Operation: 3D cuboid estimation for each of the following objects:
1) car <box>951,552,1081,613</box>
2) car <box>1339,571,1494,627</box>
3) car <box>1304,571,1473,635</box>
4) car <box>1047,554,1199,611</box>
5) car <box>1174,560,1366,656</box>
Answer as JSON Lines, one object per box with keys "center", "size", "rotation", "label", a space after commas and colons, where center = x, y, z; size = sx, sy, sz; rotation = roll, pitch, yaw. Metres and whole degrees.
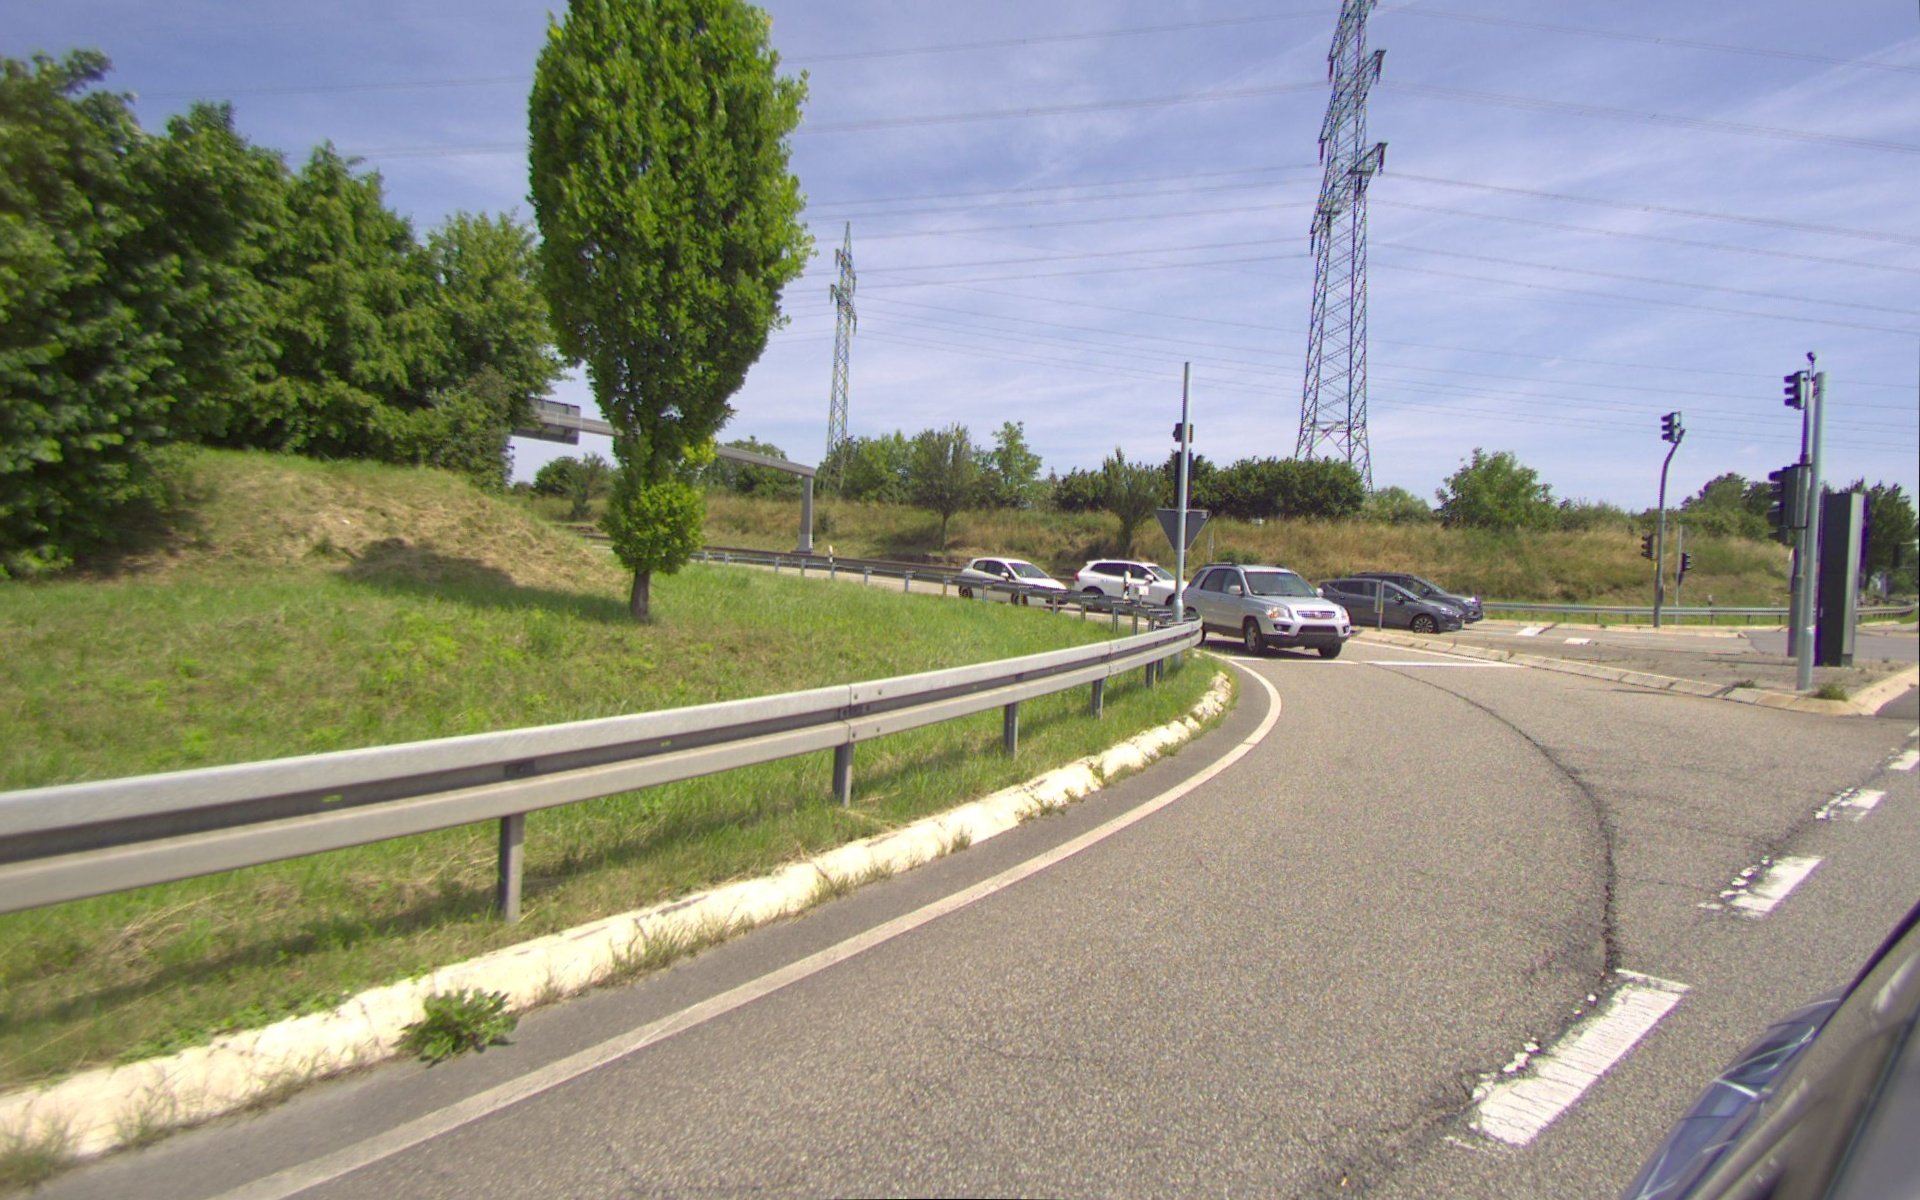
{"center": [1.645, -0.590, 30.827], "size": [1.749, 1.619, 4.000], "rotation": [-1, 4, -38], "label": "car"}
{"center": [14.793, -0.085, 32.892], "size": [4.343, 1.529, 1.696], "rotation": [4, 3, 34], "label": "car"}
{"center": [11.612, 0.034, 27.498], "size": [3.971, 1.529, 1.696], "rotation": [3, 2, 33], "label": "car"}
{"center": [5.054, -0.571, 31.658], "size": [4.346, 1.612, 1.757], "rotation": [3, 2, 36], "label": "car"}
{"center": [5.996, 0.066, 20.194], "size": [1.798, 1.675, 4.381], "rotation": [1, 2, -10], "label": "car"}
